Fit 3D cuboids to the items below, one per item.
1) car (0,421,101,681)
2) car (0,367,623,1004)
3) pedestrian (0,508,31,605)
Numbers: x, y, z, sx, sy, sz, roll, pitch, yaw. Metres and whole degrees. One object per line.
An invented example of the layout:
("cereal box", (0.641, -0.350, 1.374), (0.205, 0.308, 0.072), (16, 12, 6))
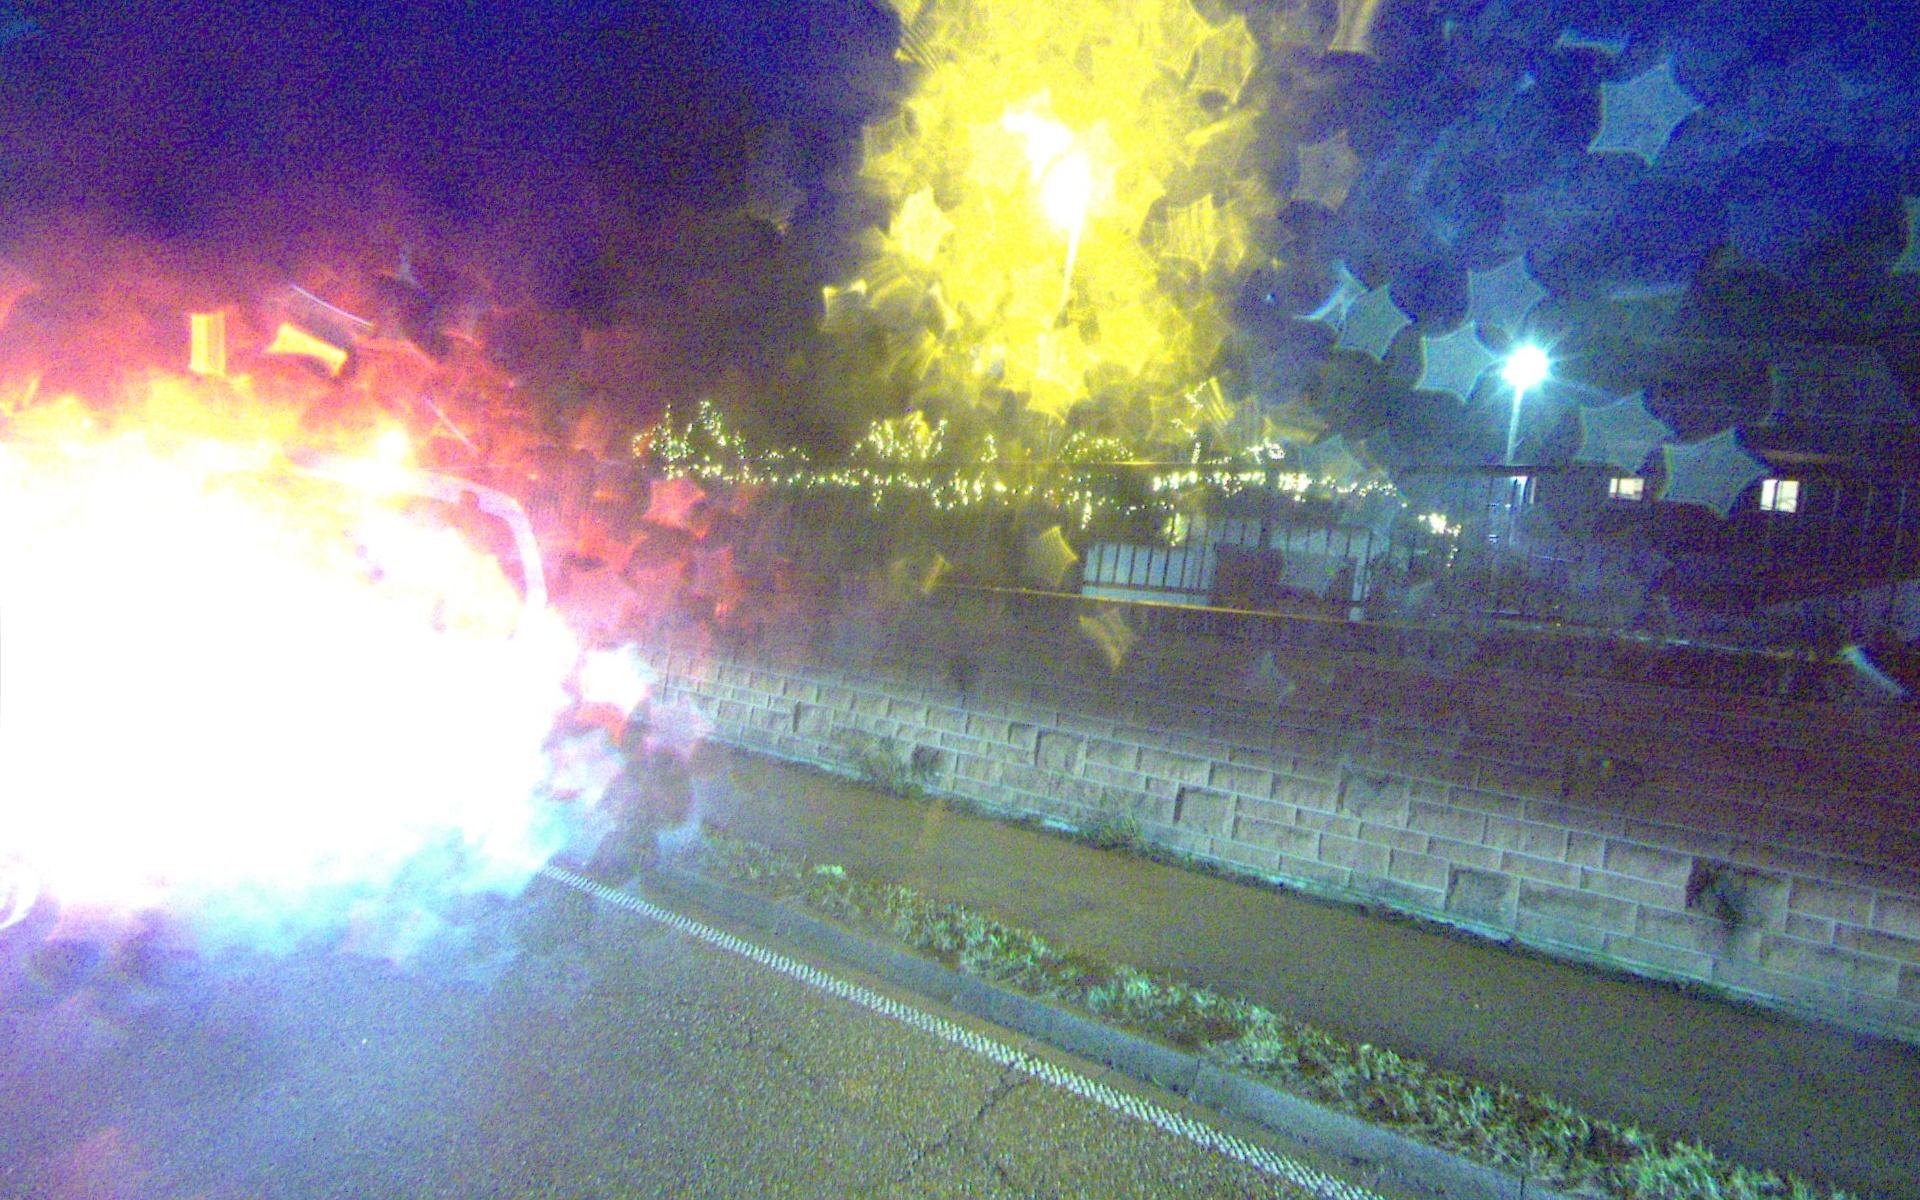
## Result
("car", (-9.633, -0.615, 8.781), (3.934, 2.070, 1.973), (6, -2, 32))
("car", (-3.919, 0.149, 4.881), (4.269, 1.886, 1.855), (6, -2, 32))
("pedestrian", (-17.586, -0.811, 18.360), (0.532, 1.721, 0.624), (7, -1, 29))
